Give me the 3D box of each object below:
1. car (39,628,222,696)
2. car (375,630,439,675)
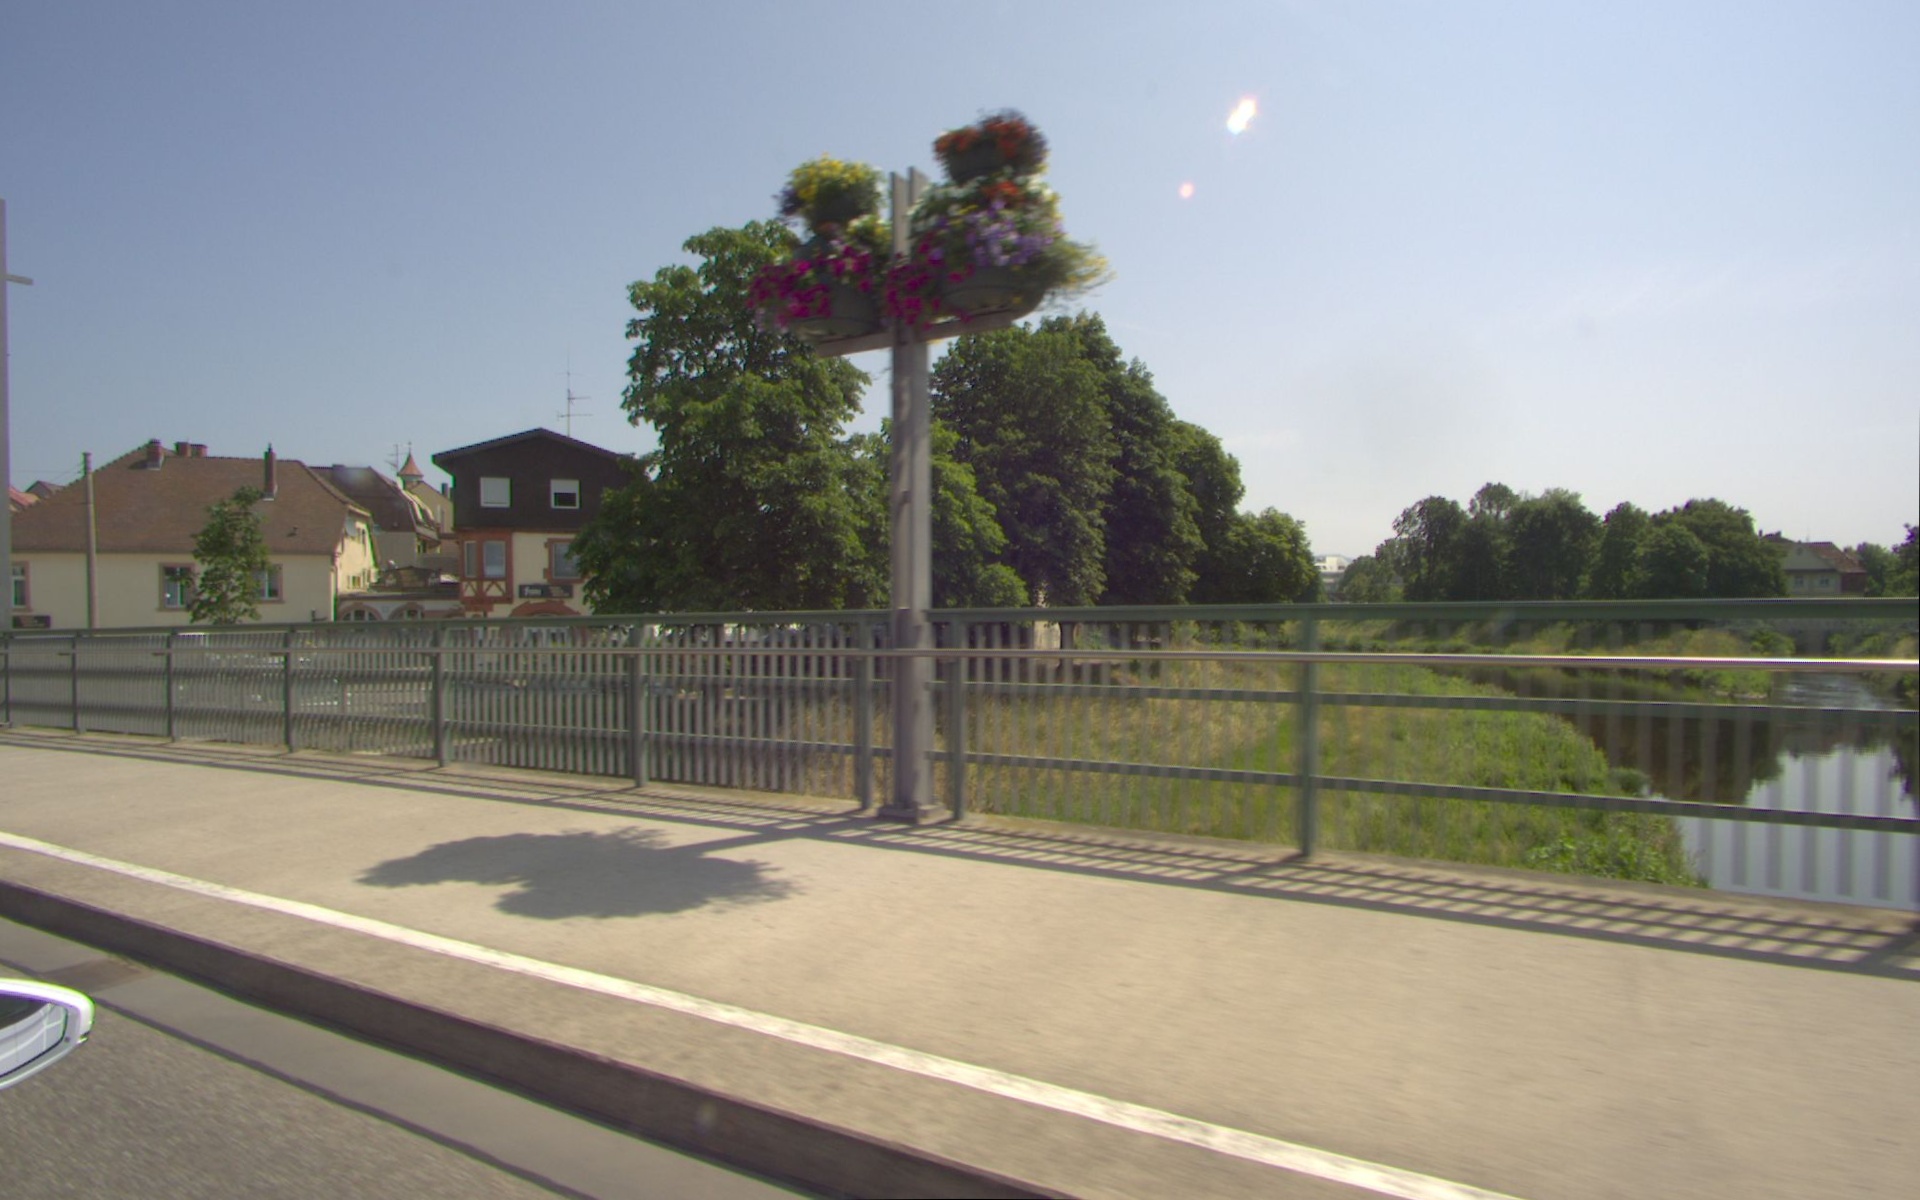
[{"bbox_3d":[-34.930,2.556,42.412,5.547,2.662,2.233,0,-1,-27],"label":"car"},{"bbox_3d":[-26.176,2.454,47.524,1.631,2.039,3.996,1,-1,-13],"label":"car"}]
